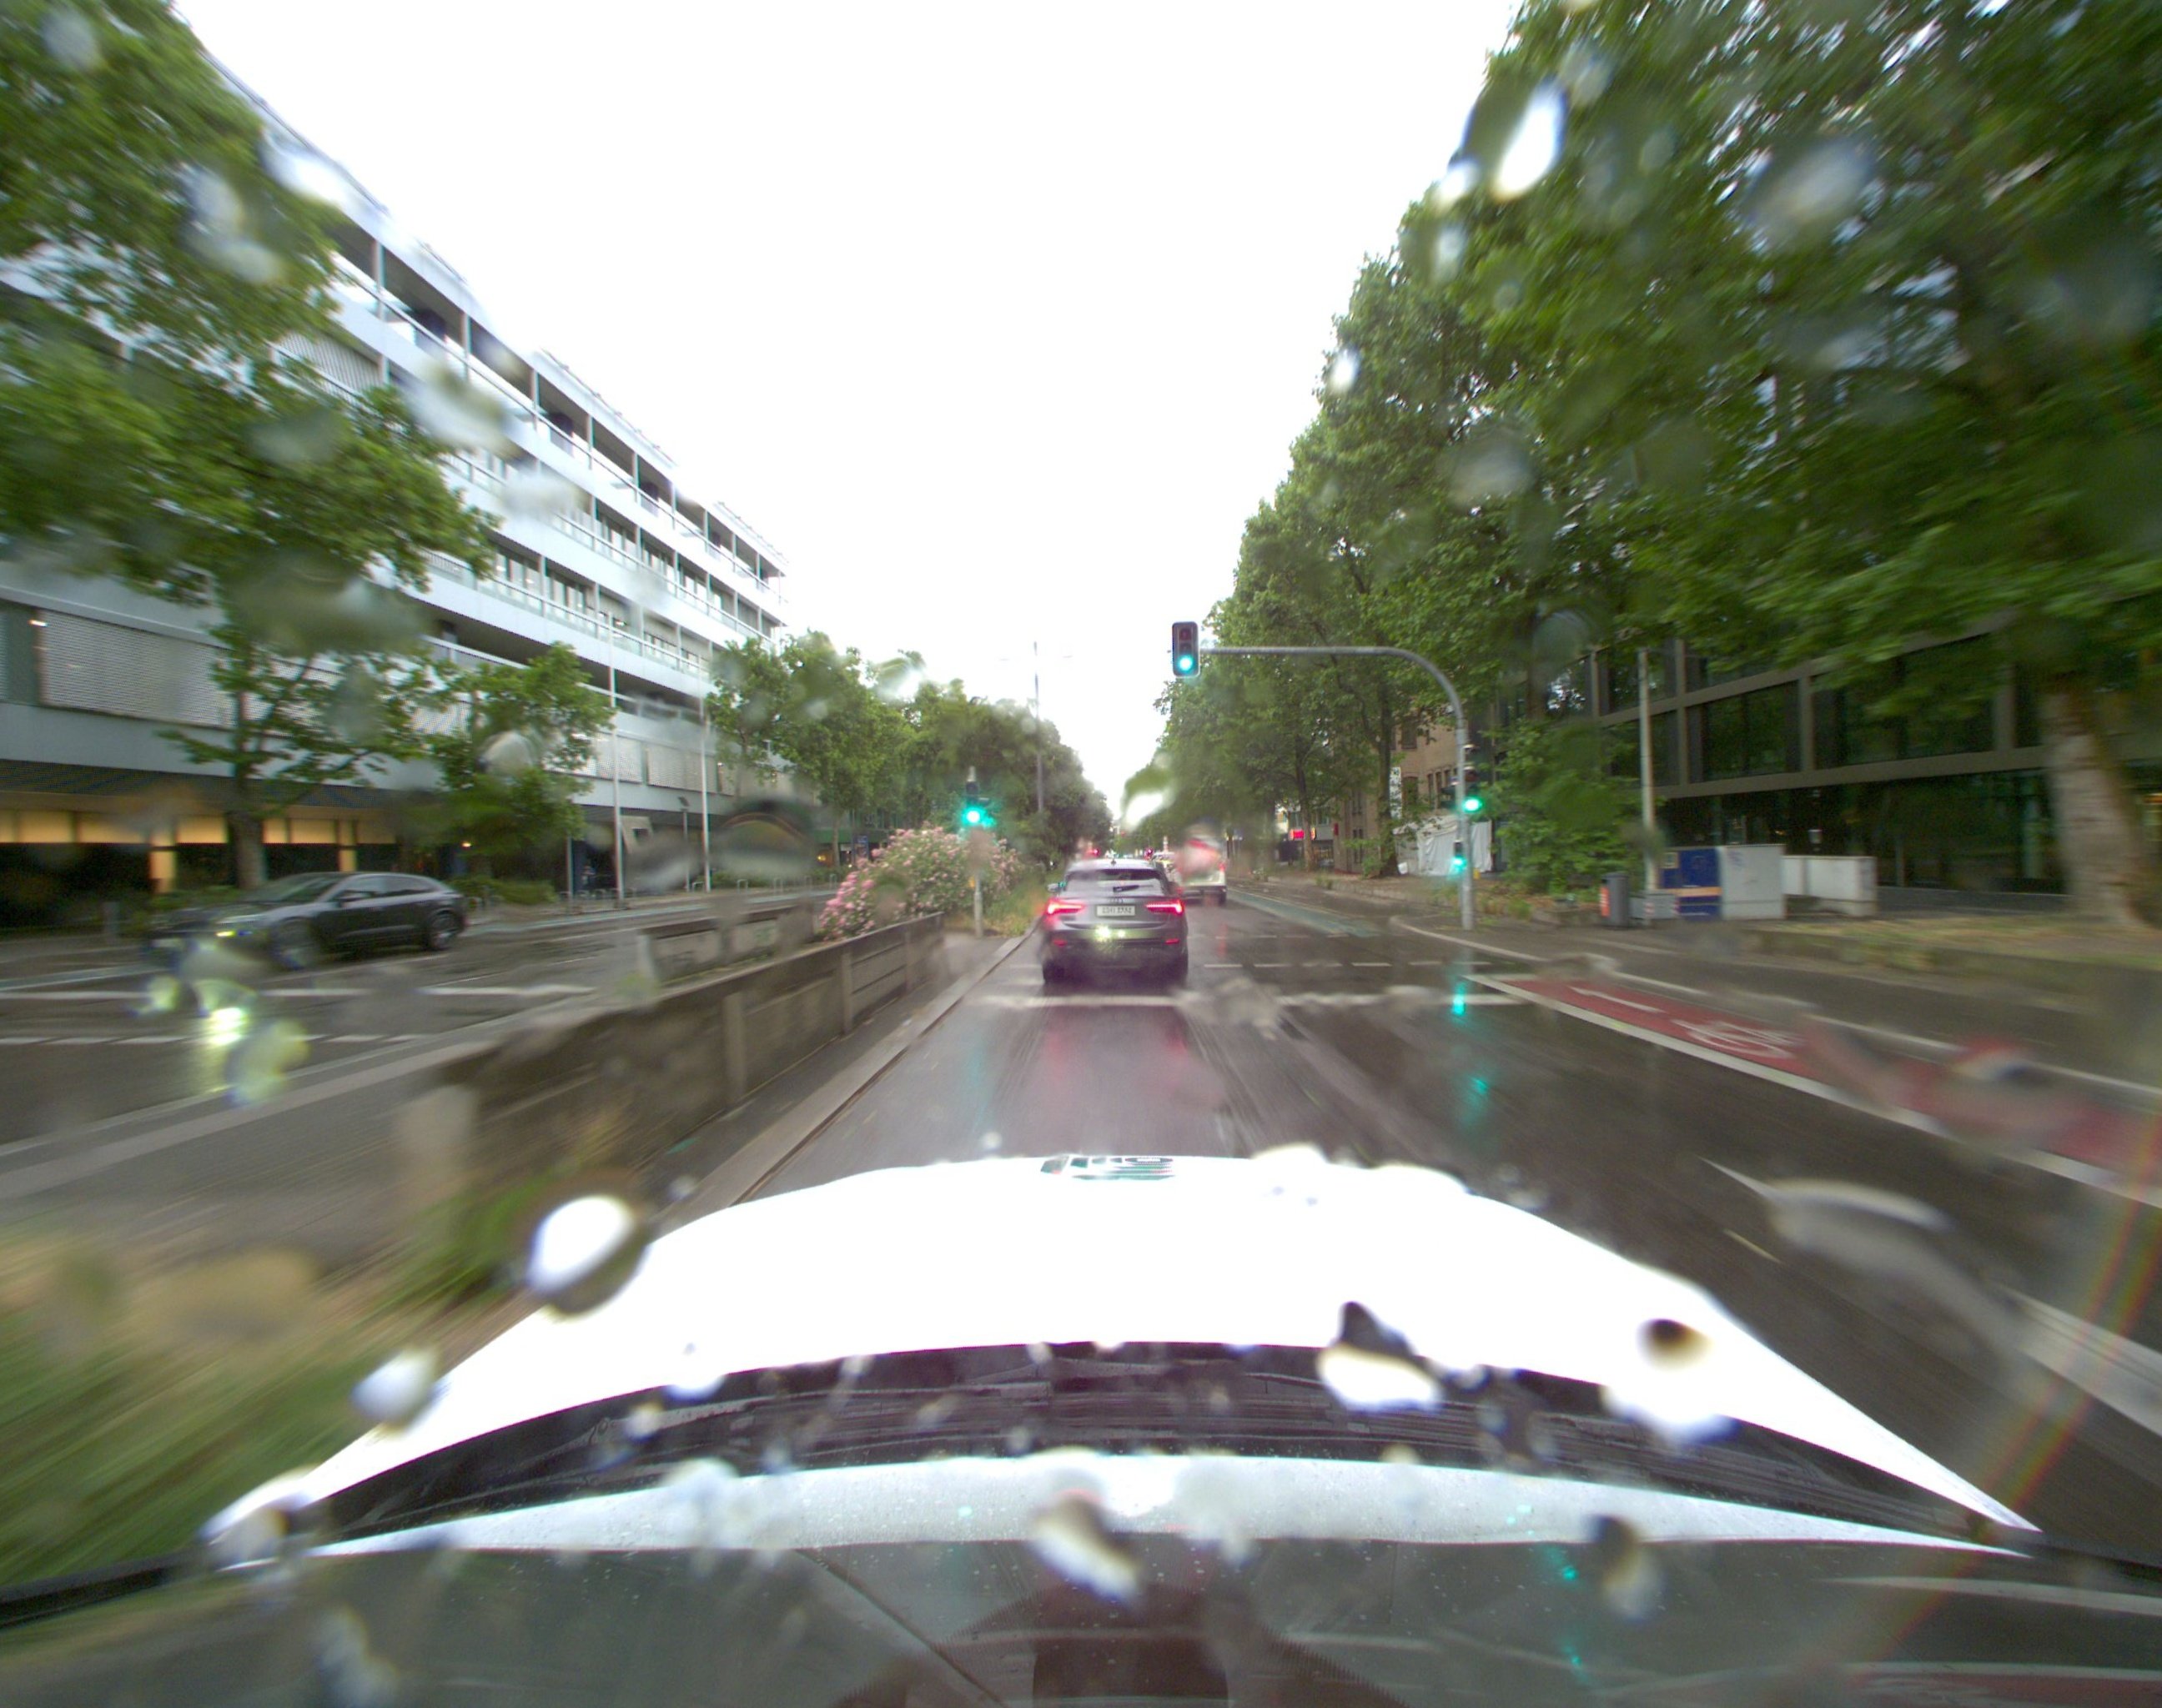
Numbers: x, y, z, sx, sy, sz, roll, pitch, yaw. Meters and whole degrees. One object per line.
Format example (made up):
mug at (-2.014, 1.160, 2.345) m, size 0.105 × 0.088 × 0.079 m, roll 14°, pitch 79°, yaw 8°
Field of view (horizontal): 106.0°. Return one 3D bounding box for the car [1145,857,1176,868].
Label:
car at (12.875, 1.417, 131.845) m, size 4.594 × 1.706 × 2.012 m, roll -1°, pitch -1°, yaw 29°

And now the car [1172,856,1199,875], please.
car at (9.107, 1.000, 71.109) m, size 1.723 × 1.571 × 4.069 m, roll 0°, pitch -1°, yaw -3°

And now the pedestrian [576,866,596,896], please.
pedestrian at (-23.620, 1.286, 38.896) m, size 0.636 × 1.380 × 0.474 m, roll 0°, pitch -1°, yaw -2°

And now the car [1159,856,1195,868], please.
car at (13.463, 1.137, 114.470) m, size 4.594 × 1.706 × 2.012 m, roll -1°, pitch -1°, yaw 29°

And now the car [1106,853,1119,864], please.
car at (4.987, 0.779, 130.650) m, size 1.986 × 1.727 × 4.001 m, roll 0°, pitch -1°, yaw 1°

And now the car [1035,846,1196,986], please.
car at (0.433, 0.740, 11.478) m, size 1.843 × 1.602 × 4.000 m, roll -1°, pitch -1°, yaw 1°

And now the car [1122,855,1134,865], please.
car at (8.139, 1.032, 142.309) m, size 1.986 × 1.651 × 4.002 m, roll 0°, pitch -1°, yaw 2°

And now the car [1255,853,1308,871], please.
car at (12.249, 0.503, 49.760) m, size 2.856 × 1.074 × 1.465 m, roll -1°, pitch -1°, yaw 33°

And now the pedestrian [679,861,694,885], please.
pedestrian at (-24.004, 1.145, 49.598) m, size 0.608 × 1.482 × 0.574 m, roll 0°, pitch -1°, yaw -1°

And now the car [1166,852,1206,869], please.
car at (12.902, 0.833, 100.403) m, size 4.548 × 2.014 × 1.980 m, roll -1°, pitch -1°, yaw 40°

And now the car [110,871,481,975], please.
car at (-13.869, 1.106, 14.929) m, size 1.900 × 1.584 × 4.753 m, roll 0°, pitch -1°, yaw 6°

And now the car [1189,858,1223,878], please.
car at (9.112, 0.999, 59.715) m, size 1.866 × 1.421 × 4.613 m, roll 0°, pitch -1°, yaw 2°

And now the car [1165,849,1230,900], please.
car at (4.076, 0.707, 29.070) m, size 1.871 × 1.697 × 4.001 m, roll 0°, pitch -1°, yaw 2°

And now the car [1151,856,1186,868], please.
car at (12.712, 1.168, 118.117) m, size 4.594 × 1.706 × 2.012 m, roll -1°, pitch -1°, yaw 29°
